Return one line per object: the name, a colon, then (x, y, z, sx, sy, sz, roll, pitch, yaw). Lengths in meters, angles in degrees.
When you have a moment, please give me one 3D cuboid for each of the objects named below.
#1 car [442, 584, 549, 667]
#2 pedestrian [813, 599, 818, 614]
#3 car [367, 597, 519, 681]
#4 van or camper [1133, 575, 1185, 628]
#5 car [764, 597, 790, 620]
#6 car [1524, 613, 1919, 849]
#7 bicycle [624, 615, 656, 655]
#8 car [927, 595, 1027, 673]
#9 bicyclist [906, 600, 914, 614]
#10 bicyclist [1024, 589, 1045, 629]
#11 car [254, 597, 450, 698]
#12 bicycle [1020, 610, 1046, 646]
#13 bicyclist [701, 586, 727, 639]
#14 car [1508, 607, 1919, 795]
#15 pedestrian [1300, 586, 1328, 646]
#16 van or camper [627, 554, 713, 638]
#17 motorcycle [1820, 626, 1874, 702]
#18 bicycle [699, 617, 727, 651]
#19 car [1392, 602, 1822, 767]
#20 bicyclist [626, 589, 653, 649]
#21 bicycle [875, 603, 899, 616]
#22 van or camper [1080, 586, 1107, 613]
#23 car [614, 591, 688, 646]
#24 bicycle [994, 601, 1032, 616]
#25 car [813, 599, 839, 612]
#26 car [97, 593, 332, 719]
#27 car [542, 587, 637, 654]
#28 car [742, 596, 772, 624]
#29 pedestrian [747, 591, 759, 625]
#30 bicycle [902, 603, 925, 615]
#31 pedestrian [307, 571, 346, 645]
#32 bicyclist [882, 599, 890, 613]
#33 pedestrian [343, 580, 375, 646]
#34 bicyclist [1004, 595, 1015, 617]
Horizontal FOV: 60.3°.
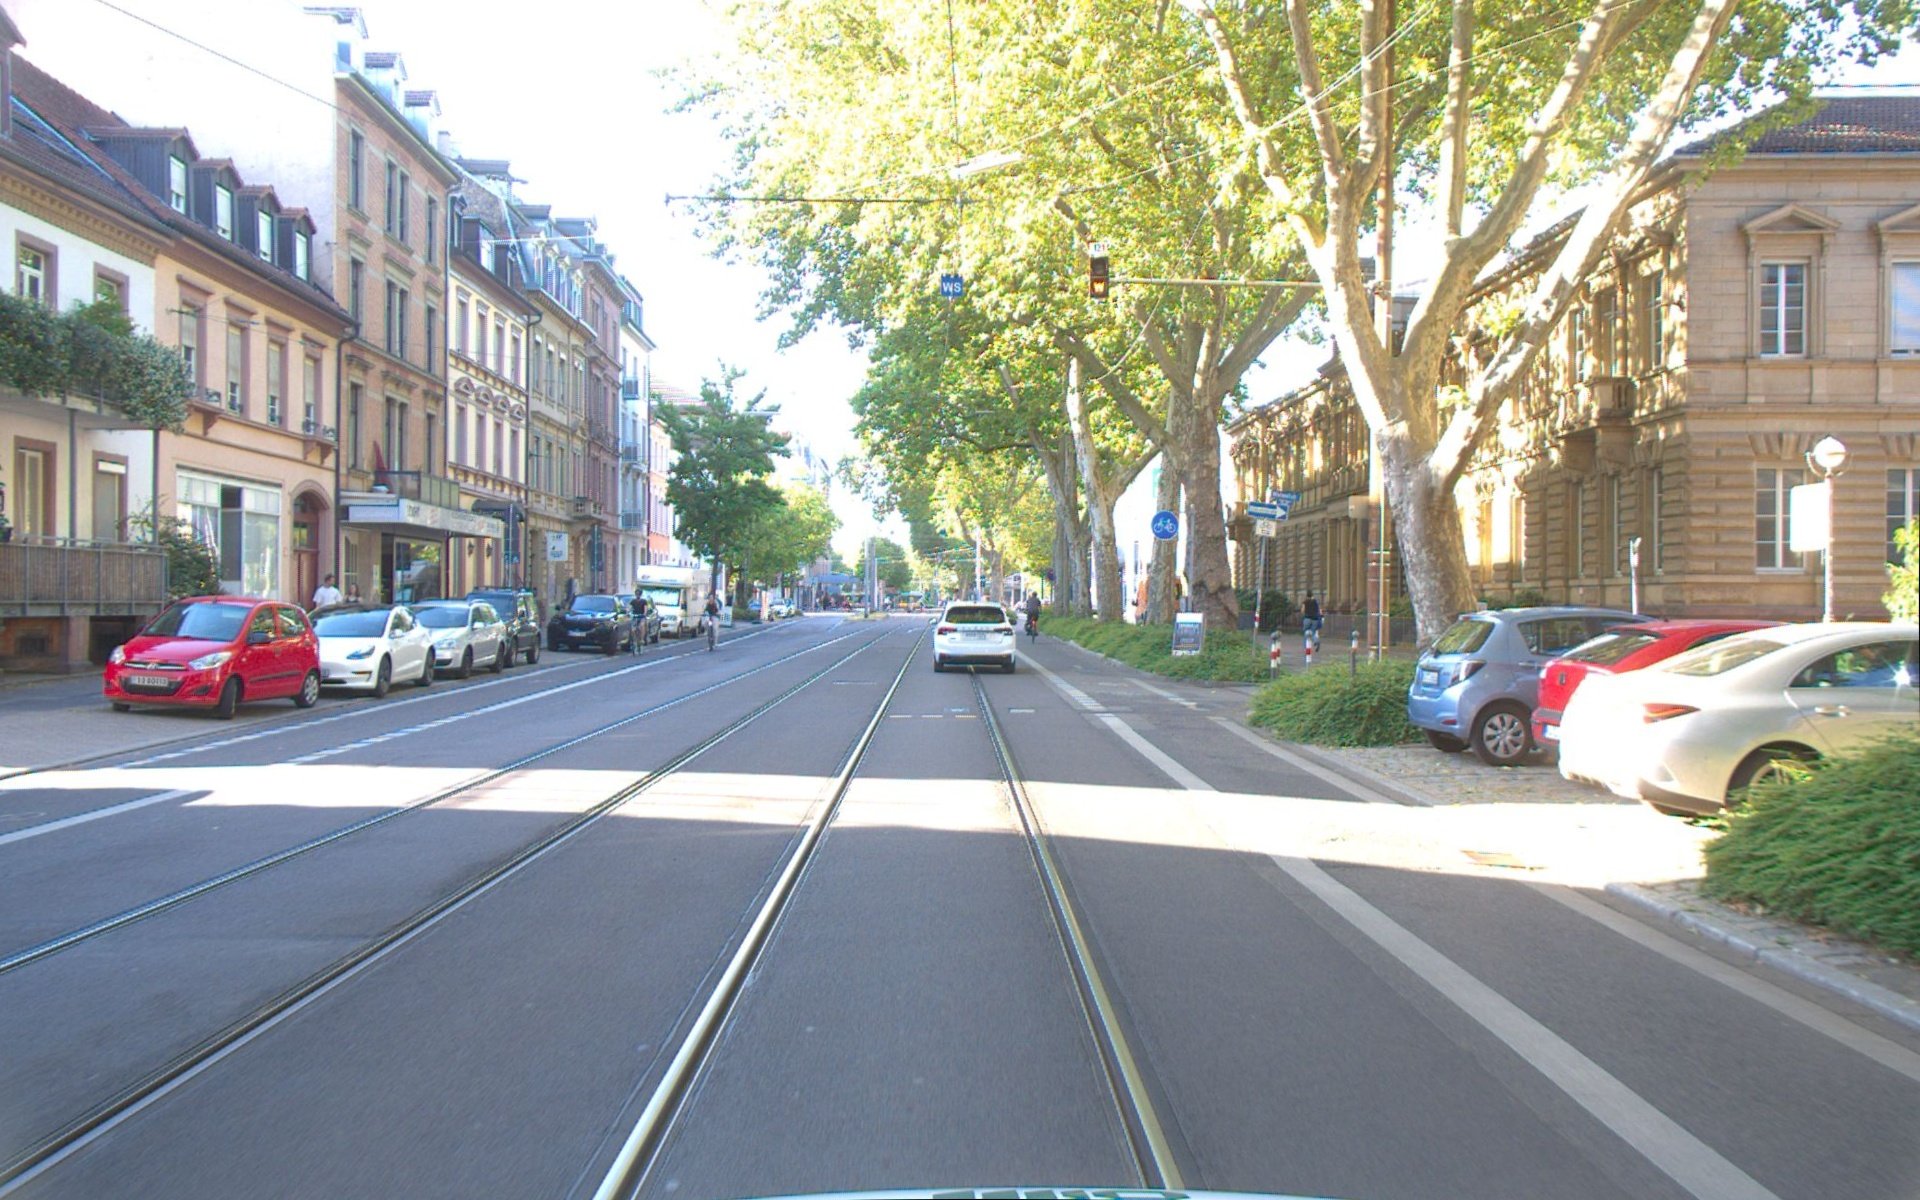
car: (-10.594, 0.554, 37.940, 1.524, 1.762, 3.684, 1, 0, -2)
pedestrian: (-15.173, 0.683, 173.546, 0.502, 1.573, 0.463, 2, -1, -1)
car: (-10.356, 0.737, 33.454, 1.790, 1.529, 4.447, 2, 0, -2)
van or camper: (9.936, 0.079, 82.953, 1.985, 2.507, 5.108, 2, 0, 0)
car: (-14.443, 0.629, 130.557, 1.758, 1.756, 3.782, 1, 0, -3)
car: (6.367, 0.846, 11.625, 4.198, 1.442, 1.760, -1, 0, 0)
bicycle: (-9.020, 0.980, 46.684, 0.474, 1.066, 2.039, -2, 0, 0)
car: (0.296, 0.688, 34.915, 1.806, 1.506, 3.835, 1, 0, -4)
bicyclist: (-5.397, 0.766, 178.417, 0.626, 1.549, 0.602, -1, 1, -36)
bicyclist: (2.585, 0.311, 57.584, 0.665, 1.362, 0.525, 2, -1, -2)
car: (-10.126, 0.732, 27.936, 1.791, 1.529, 4.685, 2, 0, -4)
bicycle: (2.525, 0.963, 57.629, 0.666, 1.175, 2.963, 2, 0, -1)
bicyclist: (-7.313, 0.366, 49.177, 0.625, 1.529, 1.069, -1, 0, -1)
car: (6.846, 0.806, 14.227, 3.680, 1.411, 1.678, -1, 0, -7)
pedestrian: (9.898, 0.442, 46.224, 0.634, 1.661, 0.872, 1, -1, 18)
van or camper: (-11.752, -0.143, 67.477, 2.171, 3.195, 7.113, 1, 0, 0)
motorcycle: (16.835, 1.190, 31.430, 0.484, 1.319, 2.184, 1, 1, 17)
bicycle: (-7.347, 1.010, 49.252, 0.488, 0.959, 1.921, -2, 0, 0)
car: (6.430, 0.815, 16.701, 3.675, 1.534, 1.681, 1, 0, -1)
bicyclist: (-9.052, 0.521, 46.719, 0.524, 1.663, 0.896, -2, 0, 0)
bicycle: (-7.814, 1.011, 176.505, 2.659, 1.351, 0.607, 0, 0, -36)
van or camper: (11.983, -0.026, 148.575, 1.953, 2.384, 3.999, 2, 0, -1)
car: (-10.841, 0.637, 58.294, 1.925, 1.813, 4.468, 1, 0, -3)
bicycle: (3.882, 0.606, 121.435, 2.711, 1.017, 0.593, 2, 0, 13)
car: (-20.362, 0.773, 251.714, 3.713, 1.850, 1.804, 2, 0, 4)
car: (-10.078, 0.703, 22.634, 1.536, 1.590, 3.450, 0, 0, 2)
car: (-11.058, 0.597, 49.685, 1.925, 1.812, 4.934, 3, 0, -3)
car: (-13.205, 0.650, 107.882, 1.608, 1.756, 3.782, 1, 0, -3)
pedestrian: (-12.523, 0.474, 99.995, 0.588, 2.037, 0.750, 1, 0, 3)
bicycle: (-4.999, 0.955, 178.714, 2.659, 1.351, 0.607, 0, 0, -36)
pedestrian: (-14.605, 0.190, 38.148, 0.760, 1.663, 0.654, 2, -1, -17)
bicyclist: (-7.862, 0.628, 176.469, 0.626, 1.549, 0.602, -1, 1, -36)
pedestrian: (-13.957, 0.299, 38.393, 0.625, 1.486, 0.654, 2, -1, -18)
bicyclist: (3.665, 0.444, 121.510, 0.720, 1.617, 0.587, 0, 0, 11)
